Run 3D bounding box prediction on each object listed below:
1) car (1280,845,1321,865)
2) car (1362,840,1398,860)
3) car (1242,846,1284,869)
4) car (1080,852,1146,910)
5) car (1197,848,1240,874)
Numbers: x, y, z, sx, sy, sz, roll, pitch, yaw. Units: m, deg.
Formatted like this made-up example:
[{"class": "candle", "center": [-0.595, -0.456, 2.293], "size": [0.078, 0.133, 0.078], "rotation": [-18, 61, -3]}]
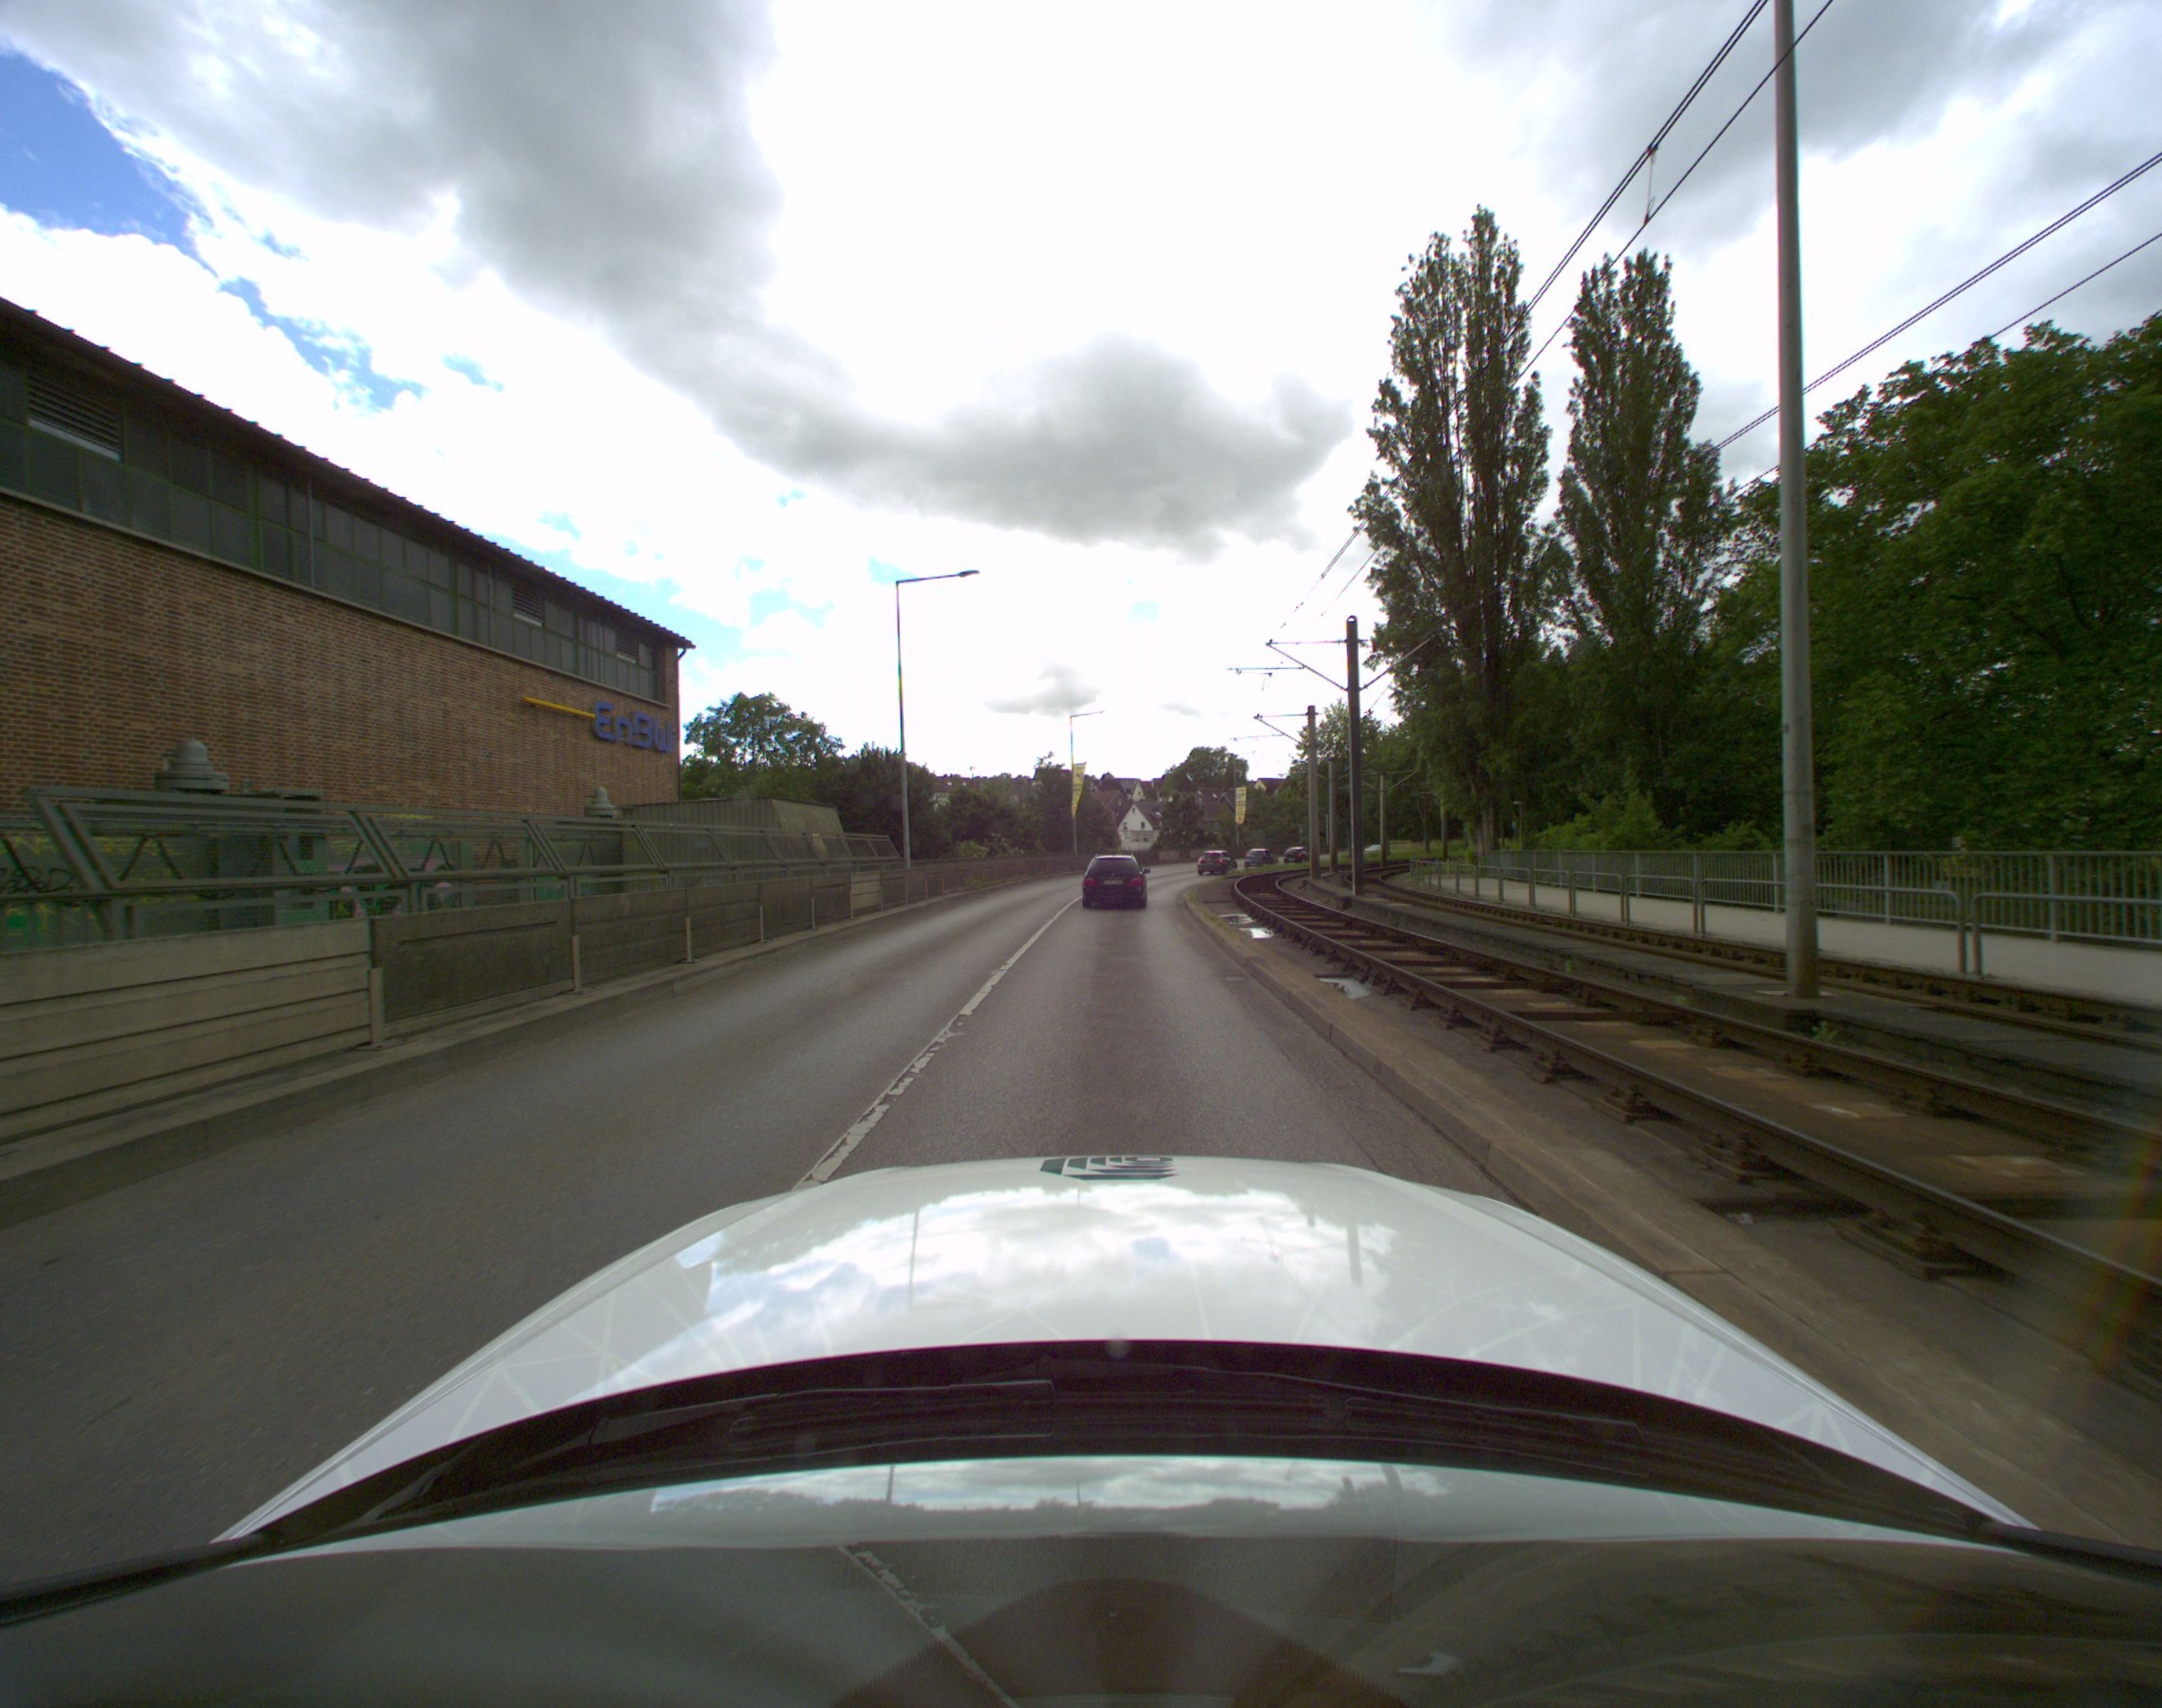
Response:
[{"class": "car", "center": [18.306, 0.059, 67.760], "size": [1.753, 1.555, 4.267], "rotation": [-1, 0, 39]}, {"class": "car", "center": [29.900, -0.370, 81.417], "size": [4.012, 1.711, 1.781], "rotation": [-5, 1, -44]}, {"class": "car", "center": [13.719, 0.212, 61.317], "size": [1.775, 1.555, 4.413], "rotation": [-2, 0, 30]}, {"class": "car", "center": [0.989, 0.710, 23.992], "size": [1.751, 1.515, 4.446], "rotation": [0, 0, 3]}, {"class": "car", "center": [8.965, 0.443, 52.866], "size": [1.754, 1.555, 4.264], "rotation": [-2, 0, 23]}]
